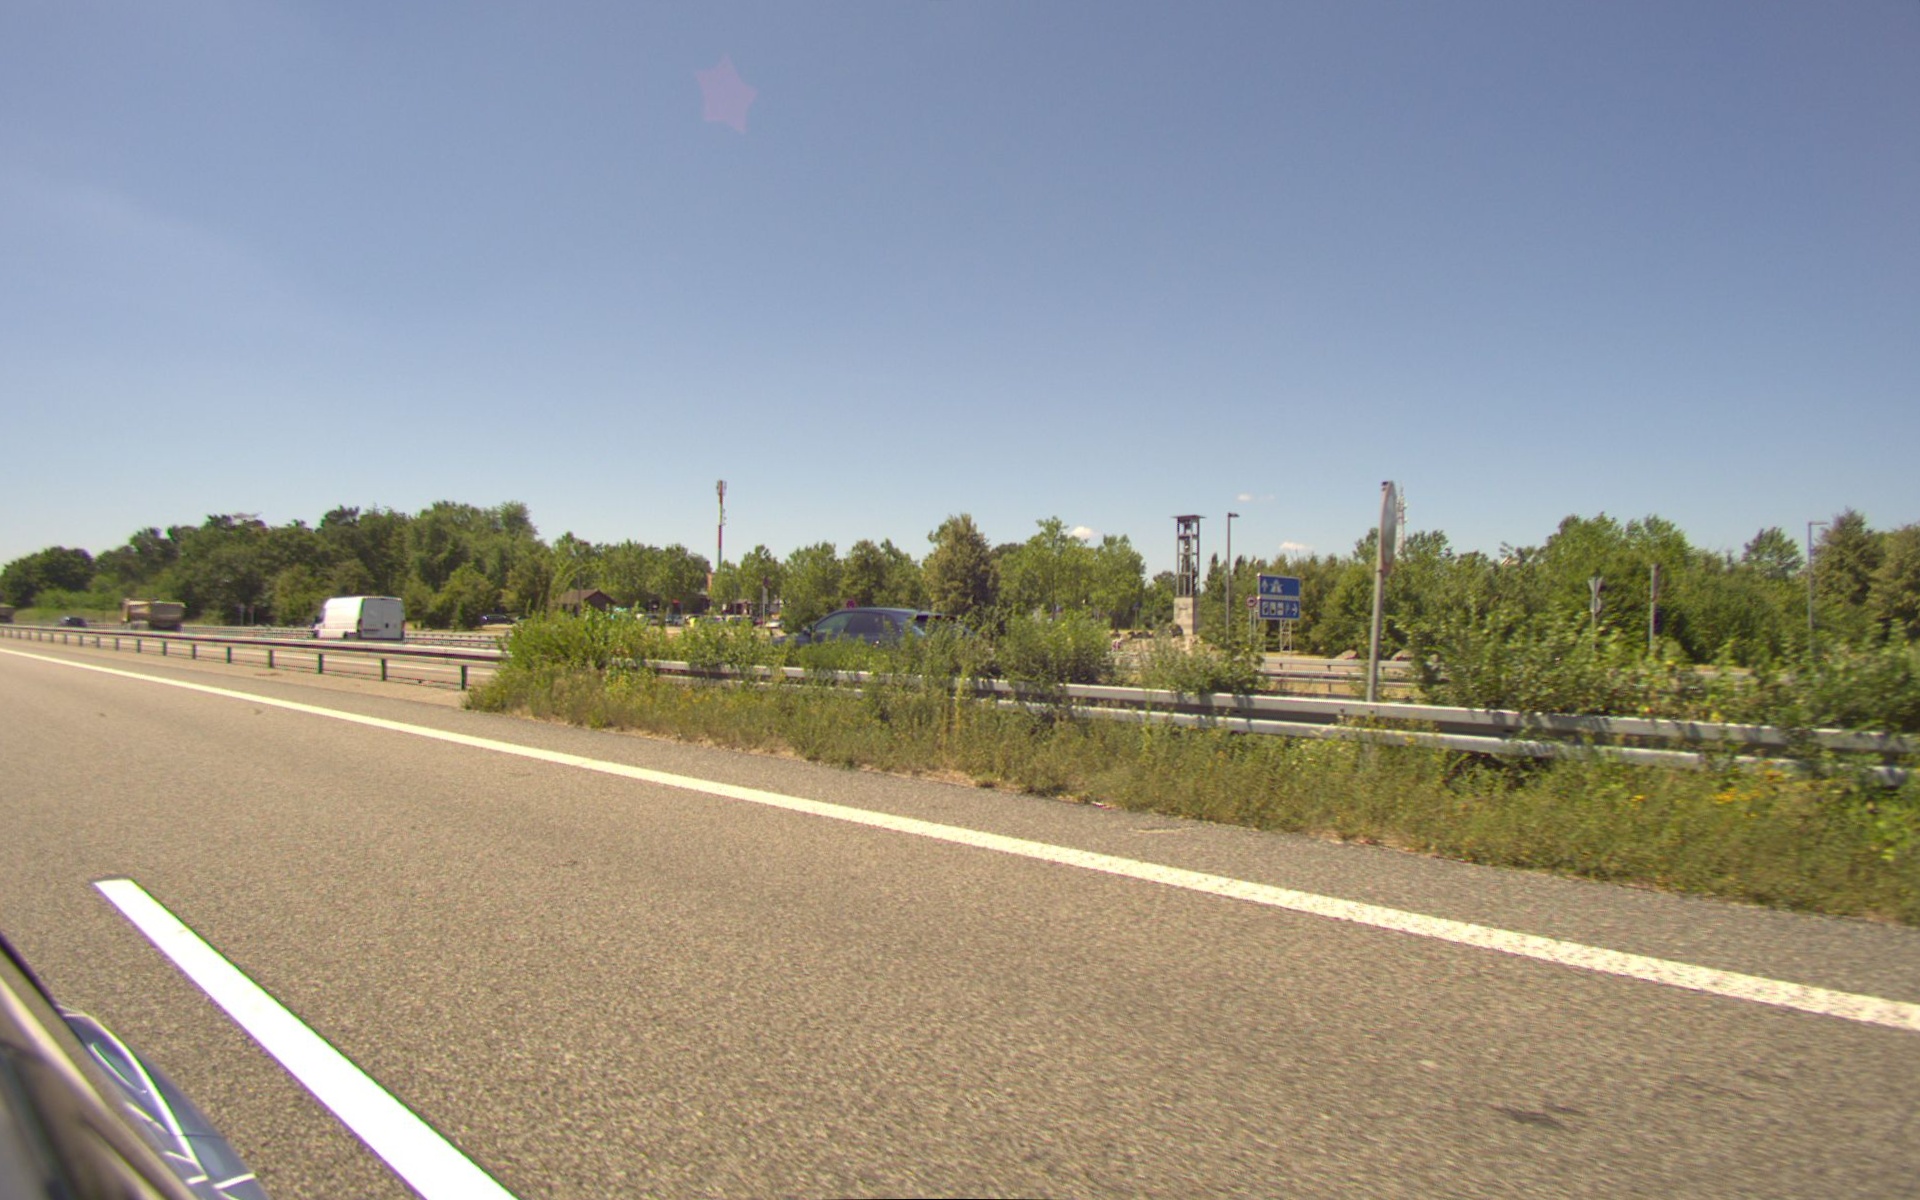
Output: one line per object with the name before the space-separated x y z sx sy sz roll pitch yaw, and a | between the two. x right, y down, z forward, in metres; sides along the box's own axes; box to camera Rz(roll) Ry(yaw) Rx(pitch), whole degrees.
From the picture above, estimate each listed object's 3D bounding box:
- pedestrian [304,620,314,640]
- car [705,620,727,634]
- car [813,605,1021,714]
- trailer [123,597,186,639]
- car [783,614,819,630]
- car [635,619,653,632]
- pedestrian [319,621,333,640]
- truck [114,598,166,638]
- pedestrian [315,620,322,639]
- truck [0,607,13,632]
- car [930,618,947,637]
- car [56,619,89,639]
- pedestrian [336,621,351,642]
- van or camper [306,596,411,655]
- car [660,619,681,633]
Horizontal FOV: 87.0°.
pedestrian | -54.206 2.486 84.262 0.636 1.619 0.657 -1 0 -37
car | -29.335 3.240 121.569 1.542 1.621 3.433 -1 0 5
car | -0.831 0.956 17.911 3.590 1.723 1.684 -1 0 44
trailer | -71.990 1.596 90.348 9.365 3.542 2.753 -1 1 41
car | -17.458 2.399 110.954 3.680 1.621 1.547 -1 0 28
car | -41.237 3.310 131.979 1.476 1.621 3.114 -1 0 -2
pedestrian | -53.134 2.526 84.841 0.757 1.529 0.749 -1 0 33
truck | -76.302 1.642 94.126 5.643 3.542 2.753 -1 0 41
pedestrian | -54.093 2.476 85.290 0.466 1.619 0.501 -1 0 -35
truck | -153.249 3.130 160.829 11.484 3.842 2.836 -1 1 41
car | -2.053 2.661 97.234 1.527 1.684 3.399 -1 0 2
car | -82.795 2.722 94.358 4.483 1.727 1.728 -1 1 41
pedestrian | -49.254 2.502 80.817 0.873 1.619 0.669 -1 0 34
van or camper | -28.344 1.168 47.587 6.363 2.601 2.393 -1 -1 41
car | -36.523 3.269 127.632 1.479 1.621 3.107 -1 0 5
